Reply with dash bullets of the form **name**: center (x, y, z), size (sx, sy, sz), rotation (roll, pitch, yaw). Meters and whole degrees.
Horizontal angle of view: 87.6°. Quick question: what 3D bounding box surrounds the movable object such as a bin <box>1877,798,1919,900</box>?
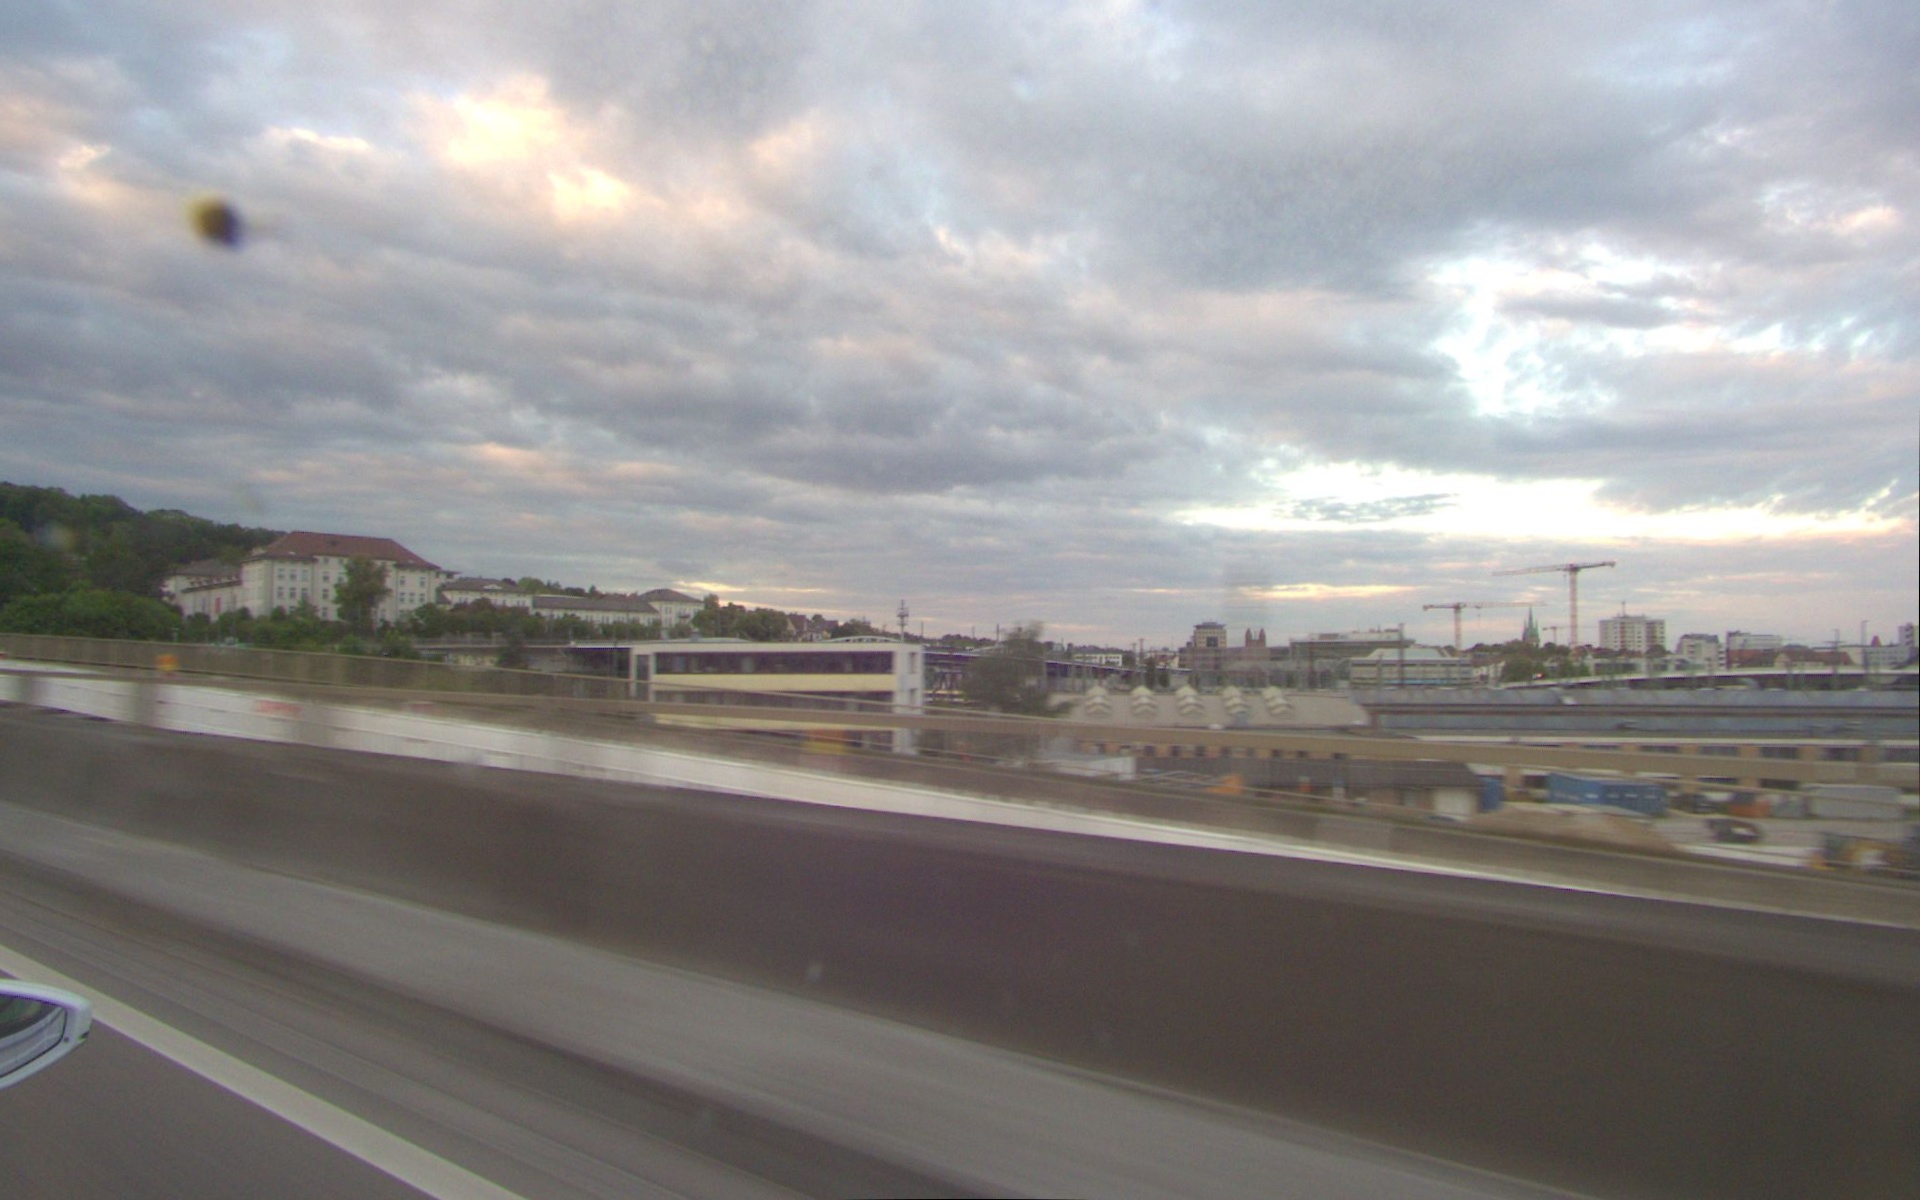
- **movable object such as a bin**: center (44.443, 11.350, 45.134), size (2.735, 4.356, 4.960), rotation (1, -8, 20)

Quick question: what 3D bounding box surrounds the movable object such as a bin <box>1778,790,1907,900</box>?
- **movable object such as a bin**: center (40.877, 11.237, 46.619), size (2.735, 4.356, 4.960), rotation (1, -8, 20)
